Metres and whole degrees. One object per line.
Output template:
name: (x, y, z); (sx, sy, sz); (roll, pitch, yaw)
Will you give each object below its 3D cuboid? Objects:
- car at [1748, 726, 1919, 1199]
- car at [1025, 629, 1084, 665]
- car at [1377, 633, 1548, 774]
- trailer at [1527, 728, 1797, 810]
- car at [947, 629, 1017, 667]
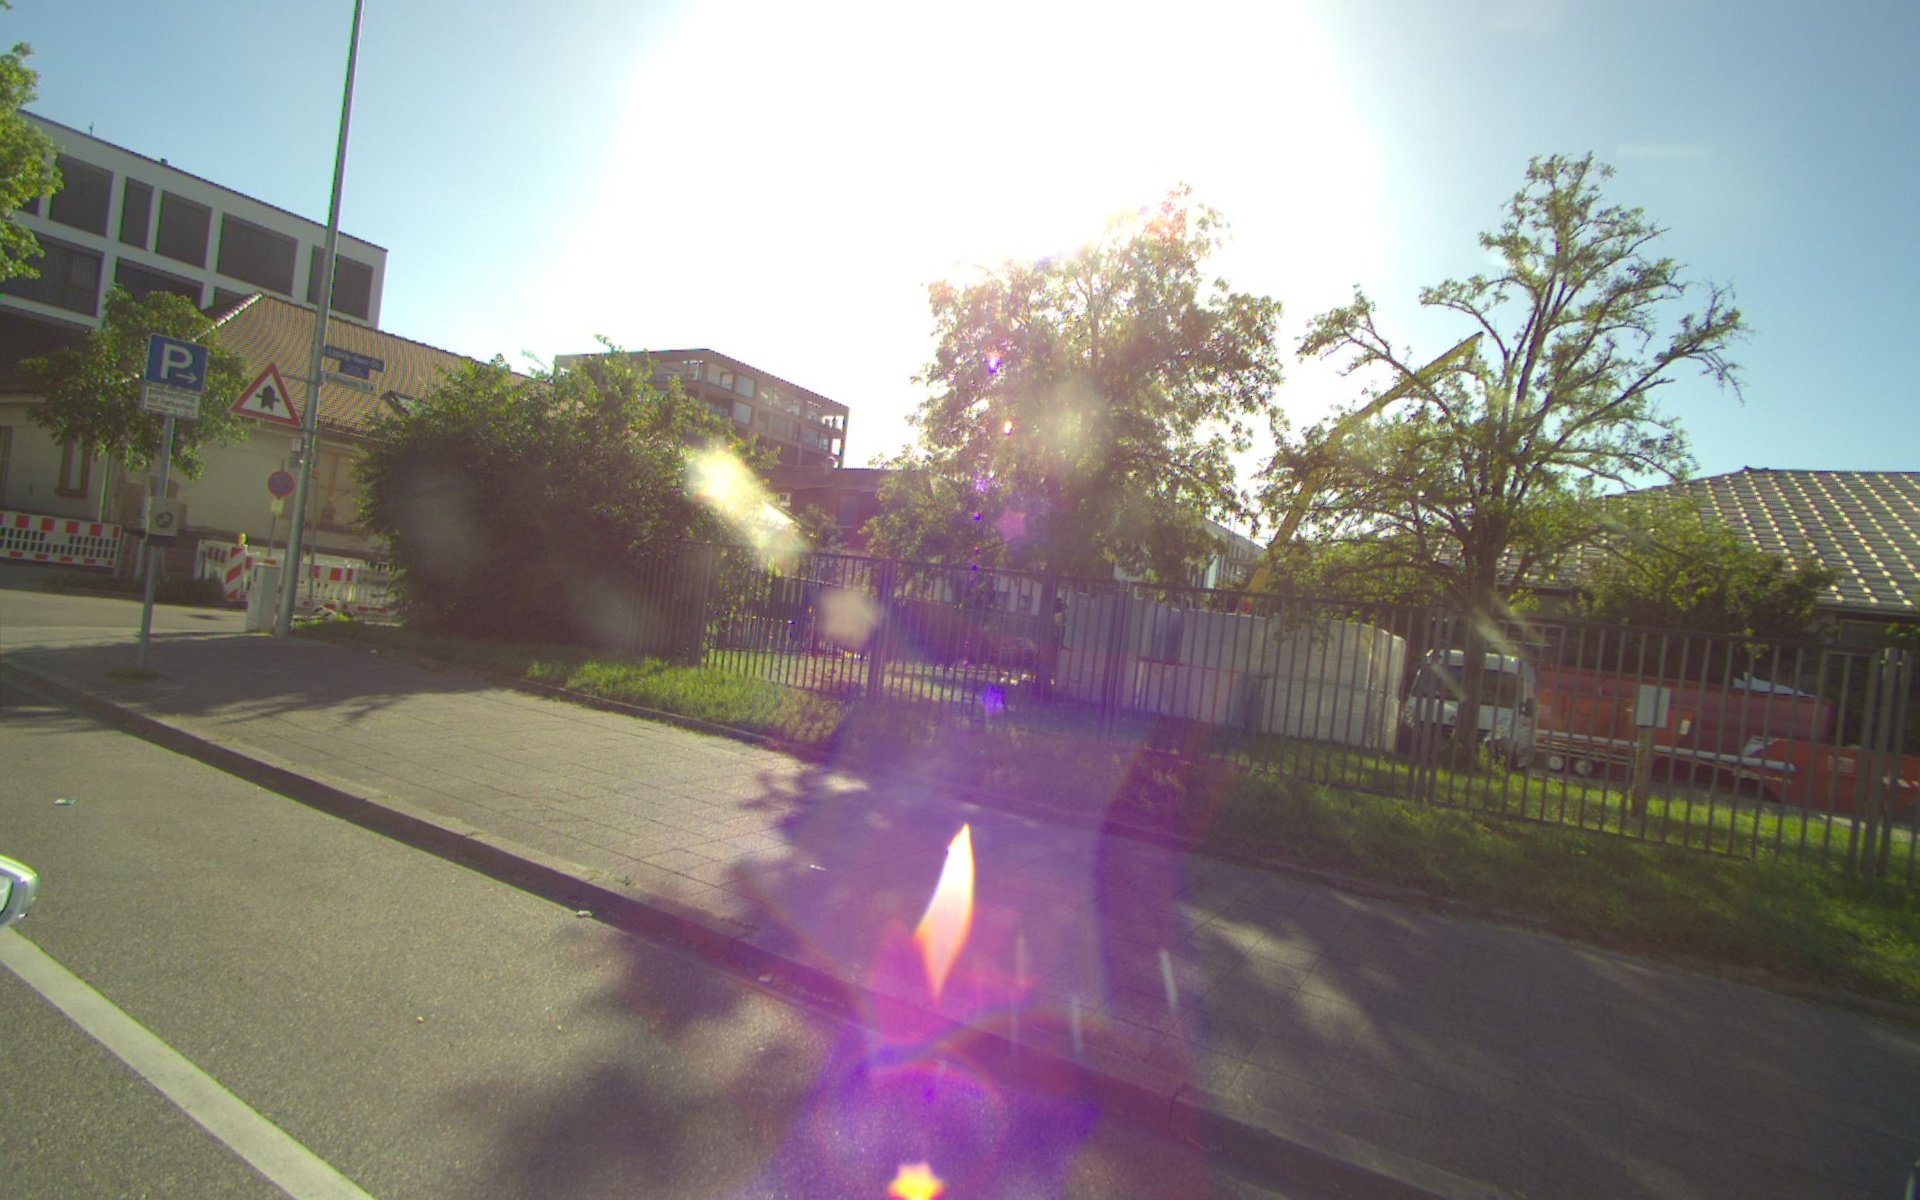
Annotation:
car: (3.288, 1.181, 0.620); (4.144, 1.471, 1.820); (7, 0, 32)
car: (5.139, 2.564, 54.533); (1.784, 1.547, 3.321); (6, -1, 31)
car: (10.272, 2.079, 20.292); (1.969, 2.228, 5.286); (8, 0, 37)
trailer: (16.502, 3.905, 23.849); (5.035, 0.930, 1.897); (6, -1, 39)
car: (1.082, 2.291, 47.700); (1.784, 1.424, 3.321); (6, -2, 31)
